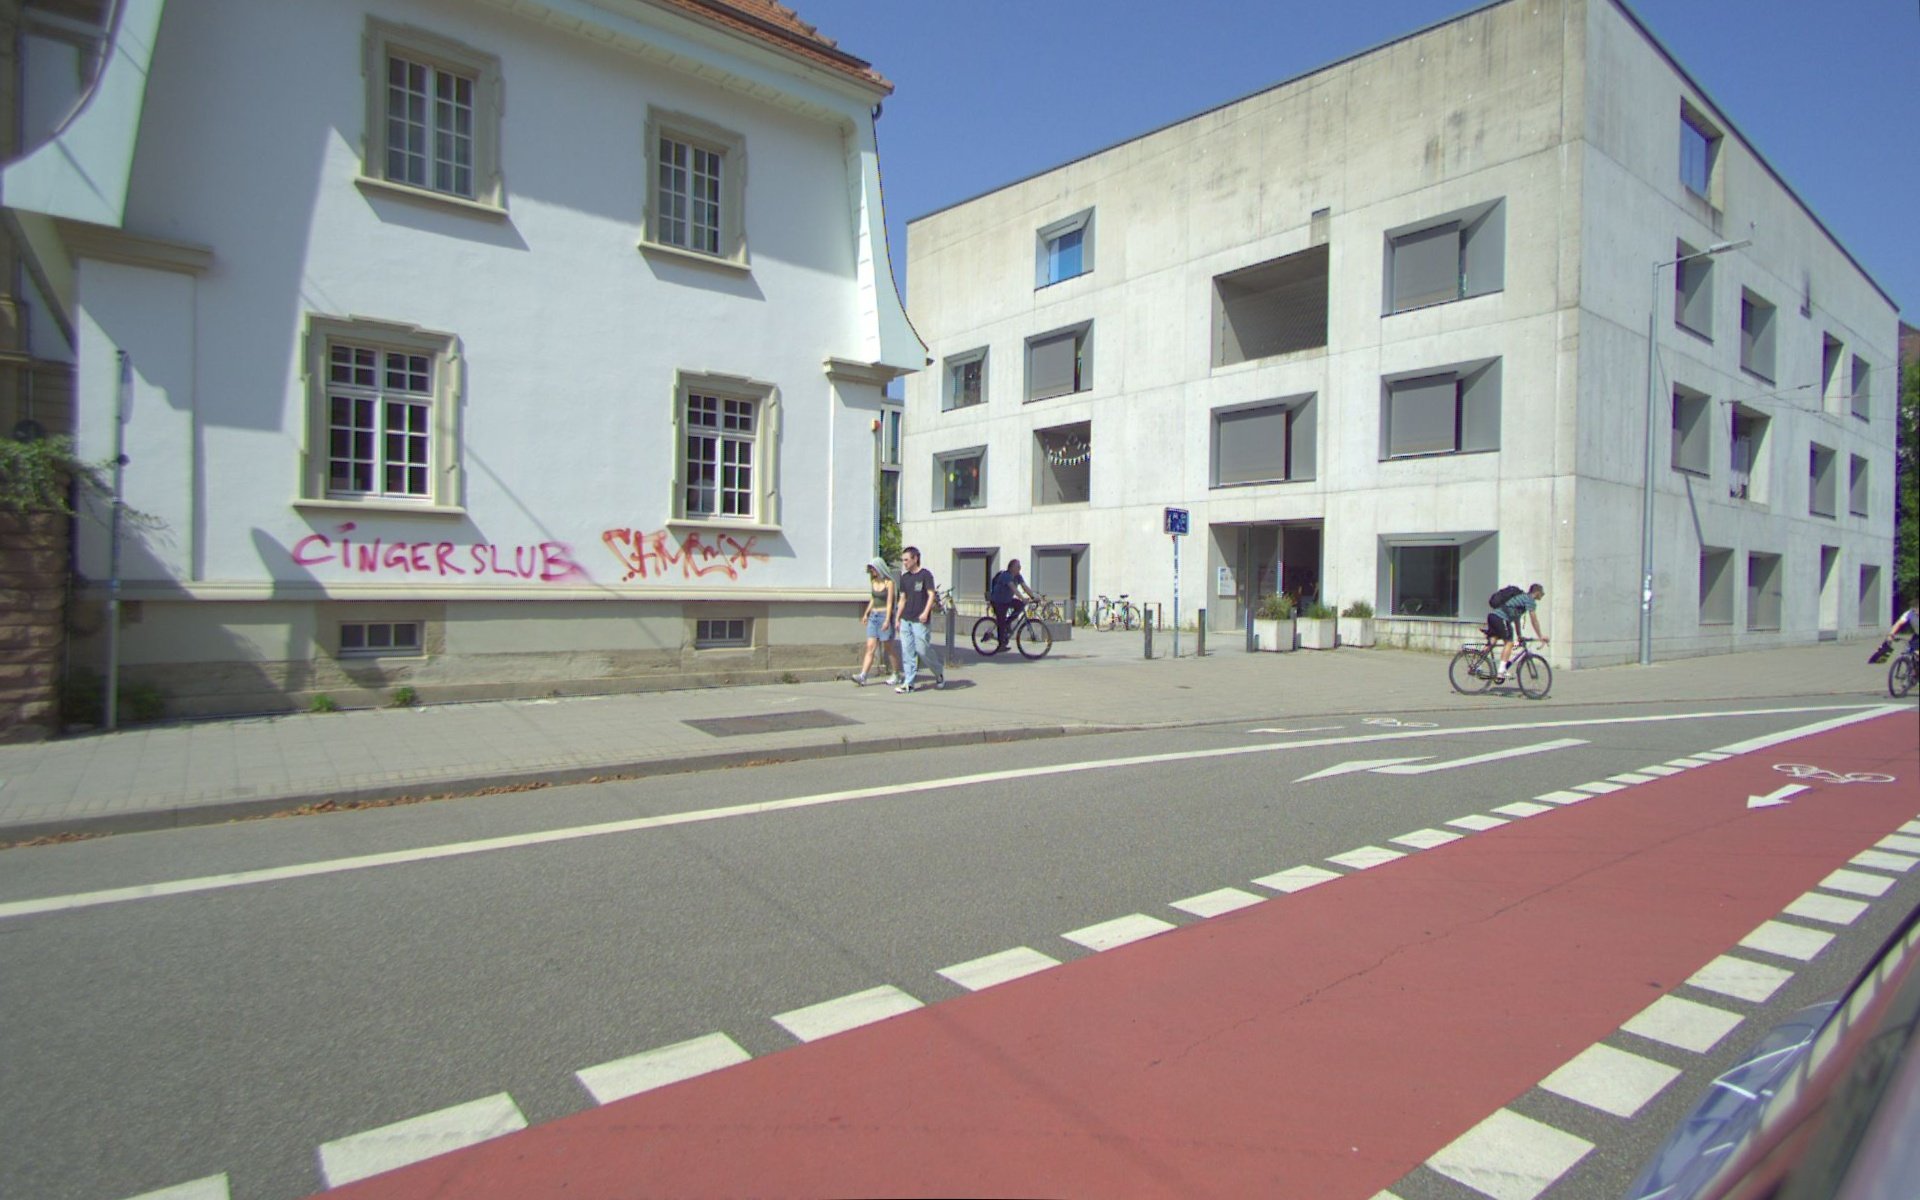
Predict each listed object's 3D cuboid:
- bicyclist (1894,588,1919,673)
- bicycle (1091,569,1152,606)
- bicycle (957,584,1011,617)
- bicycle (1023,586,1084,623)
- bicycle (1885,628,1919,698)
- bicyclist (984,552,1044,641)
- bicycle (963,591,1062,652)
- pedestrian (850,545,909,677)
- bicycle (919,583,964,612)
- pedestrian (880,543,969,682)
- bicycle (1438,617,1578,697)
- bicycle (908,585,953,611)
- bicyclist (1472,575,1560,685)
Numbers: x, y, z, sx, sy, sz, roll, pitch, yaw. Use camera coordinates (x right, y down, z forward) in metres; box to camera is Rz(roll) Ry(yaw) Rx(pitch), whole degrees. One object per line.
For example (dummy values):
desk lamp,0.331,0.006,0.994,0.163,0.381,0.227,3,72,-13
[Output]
bicyclist,16.522,0.517,17.224,0.944,1.429,0.747,0,1,-37
bicycle,4.444,-0.354,27.806,1.652,0.966,0.620,-3,2,-31
bicycle,0.764,0.011,32.296,1.632,1.012,0.617,0,1,-27
bicycle,2.684,0.117,29.127,1.632,1.012,0.617,0,3,-27
bicycle,16.491,1.052,17.218,2.192,1.062,0.741,0,1,-38
bicyclist,0.994,-0.081,18.498,0.893,1.557,0.624,4,3,22
bicycle,0.957,0.371,18.517,1.692,1.012,0.611,3,2,23
pedestrian,-1.058,0.132,13.299,0.618,1.687,0.479,1,1,44
bicycle,-0.614,-0.091,34.711,1.598,0.948,0.456,-1,2,-39
pedestrian,-0.449,0.140,12.875,0.727,1.686,0.866,1,1,43
bicycle,8.328,0.849,15.430,1.683,1.012,0.615,5,3,8
bicycle,-1.025,-0.079,35.371,1.680,0.884,0.512,-1,2,-44
bicyclist,8.451,0.440,15.410,0.976,1.618,0.627,1,0,8
